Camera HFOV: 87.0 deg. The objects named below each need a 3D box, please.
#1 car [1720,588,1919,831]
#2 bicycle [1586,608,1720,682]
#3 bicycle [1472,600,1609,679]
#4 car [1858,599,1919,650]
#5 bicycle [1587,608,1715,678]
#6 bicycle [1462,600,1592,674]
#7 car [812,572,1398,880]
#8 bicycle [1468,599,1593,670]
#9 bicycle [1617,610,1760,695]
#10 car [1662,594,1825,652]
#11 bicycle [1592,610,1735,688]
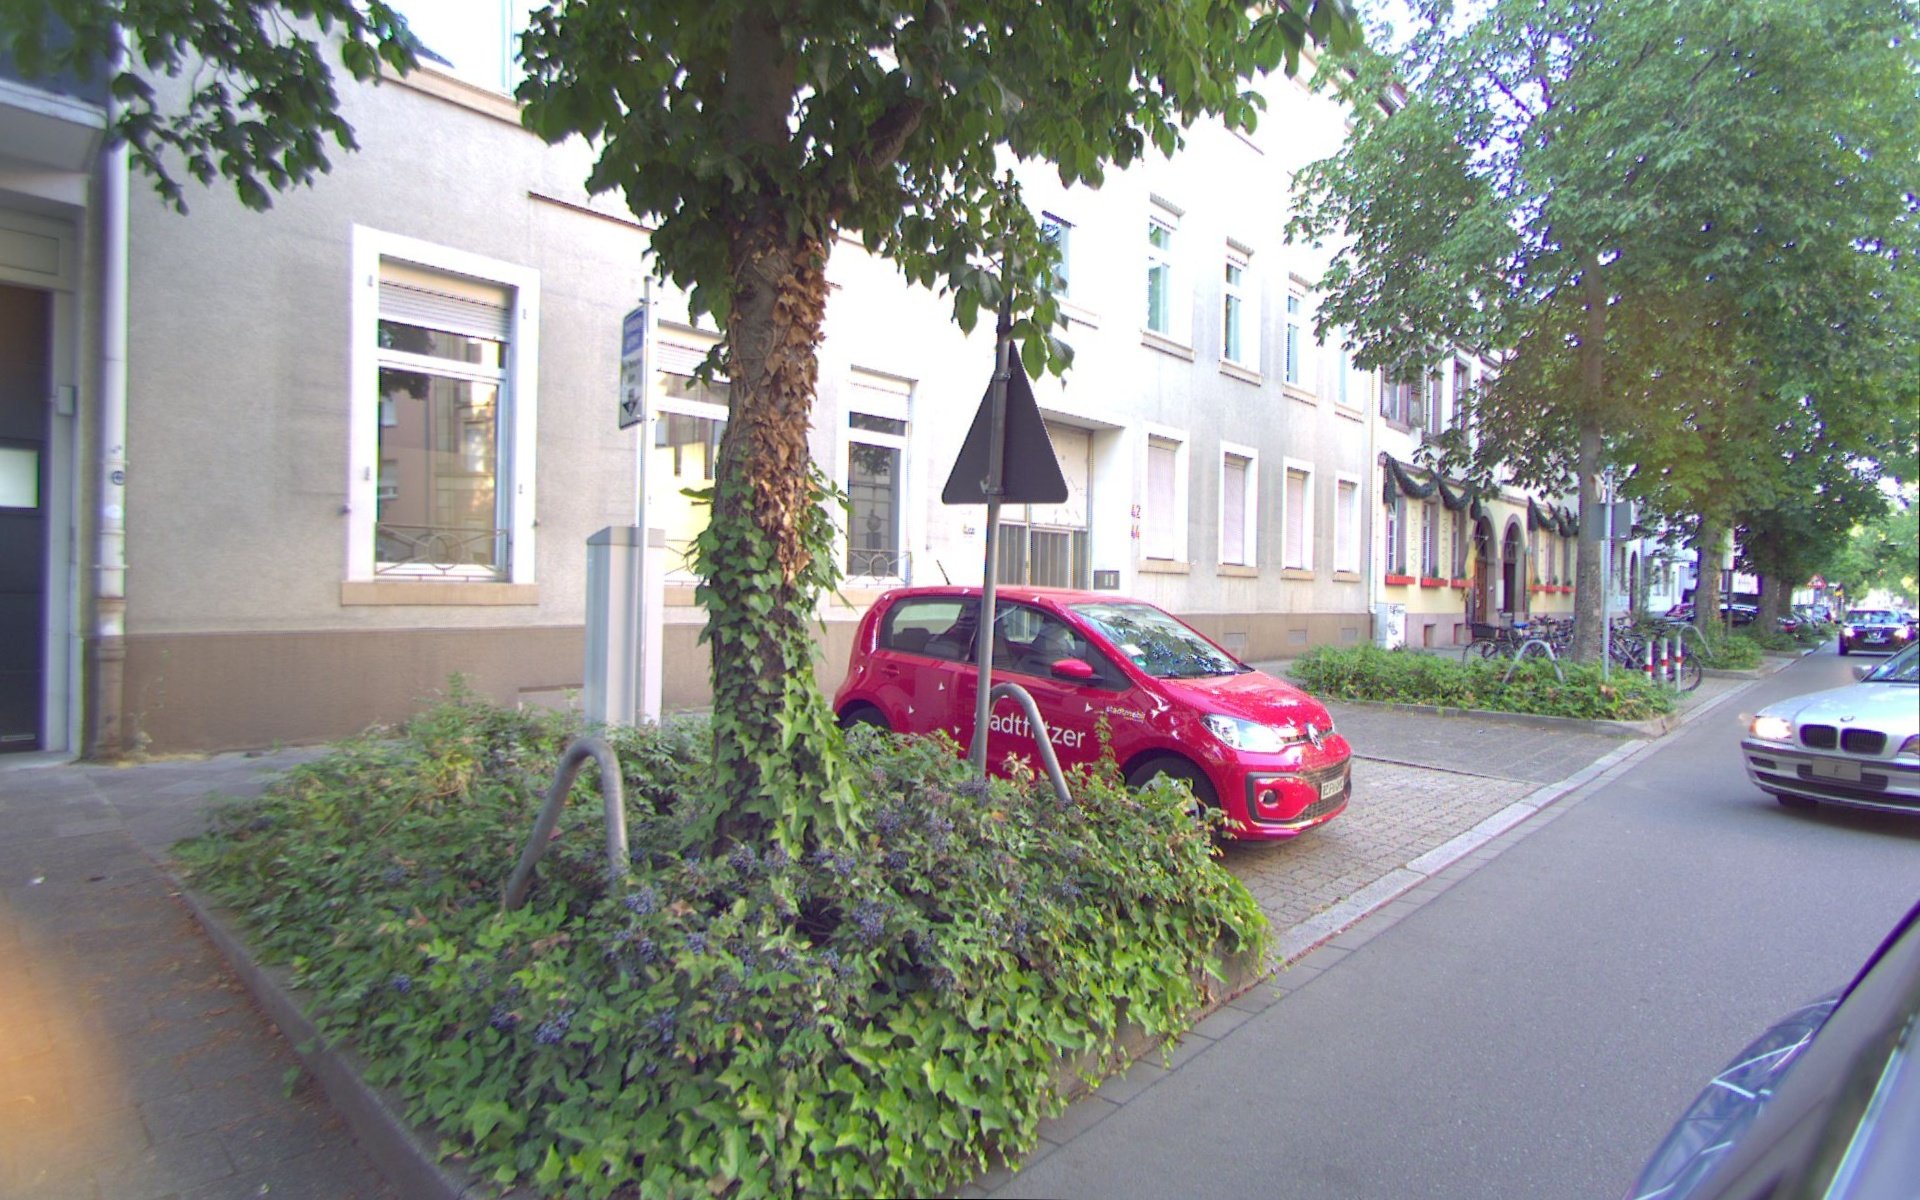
[{"bbox_3d":[7.807,0.681,7.069,4.342,1.460,1.716,1,1,-16],"label":"car"},{"bbox_3d":[12.986,0.815,19.007,2.019,1.242,0.528,2,1,39],"label":"bicycle"},{"bbox_3d":[10.080,0.655,17.616,2.014,1.242,0.529,2,1,33],"label":"bicycle"},{"bbox_3d":[31.275,0.783,33.708,1.802,1.571,3.935,2,1,45],"label":"car"},{"bbox_3d":[13.467,0.806,19.760,2.019,1.242,0.528,2,1,39],"label":"bicycle"},{"bbox_3d":[10.296,0.646,18.426,2.014,1.242,0.529,2,1,33],"label":"bicycle"},{"bbox_3d":[0.800,0.582,6.803,3.608,1.495,1.639,2,1,42],"label":"car"},{"bbox_3d":[10.927,0.634,19.420,2.017,1.242,0.529,2,1,37],"label":"bicycle"},{"bbox_3d":[11.848,0.828,16.527,1.835,1.242,0.529,2,1,33],"label":"bicycle"},{"bbox_3d":[26.609,0.732,34.447,4.232,1.761,1.715,2,1,43],"label":"car"},{"bbox_3d":[12.351,0.830,17.813,2.019,1.242,0.528,2,1,39],"label":"bicycle"}]
